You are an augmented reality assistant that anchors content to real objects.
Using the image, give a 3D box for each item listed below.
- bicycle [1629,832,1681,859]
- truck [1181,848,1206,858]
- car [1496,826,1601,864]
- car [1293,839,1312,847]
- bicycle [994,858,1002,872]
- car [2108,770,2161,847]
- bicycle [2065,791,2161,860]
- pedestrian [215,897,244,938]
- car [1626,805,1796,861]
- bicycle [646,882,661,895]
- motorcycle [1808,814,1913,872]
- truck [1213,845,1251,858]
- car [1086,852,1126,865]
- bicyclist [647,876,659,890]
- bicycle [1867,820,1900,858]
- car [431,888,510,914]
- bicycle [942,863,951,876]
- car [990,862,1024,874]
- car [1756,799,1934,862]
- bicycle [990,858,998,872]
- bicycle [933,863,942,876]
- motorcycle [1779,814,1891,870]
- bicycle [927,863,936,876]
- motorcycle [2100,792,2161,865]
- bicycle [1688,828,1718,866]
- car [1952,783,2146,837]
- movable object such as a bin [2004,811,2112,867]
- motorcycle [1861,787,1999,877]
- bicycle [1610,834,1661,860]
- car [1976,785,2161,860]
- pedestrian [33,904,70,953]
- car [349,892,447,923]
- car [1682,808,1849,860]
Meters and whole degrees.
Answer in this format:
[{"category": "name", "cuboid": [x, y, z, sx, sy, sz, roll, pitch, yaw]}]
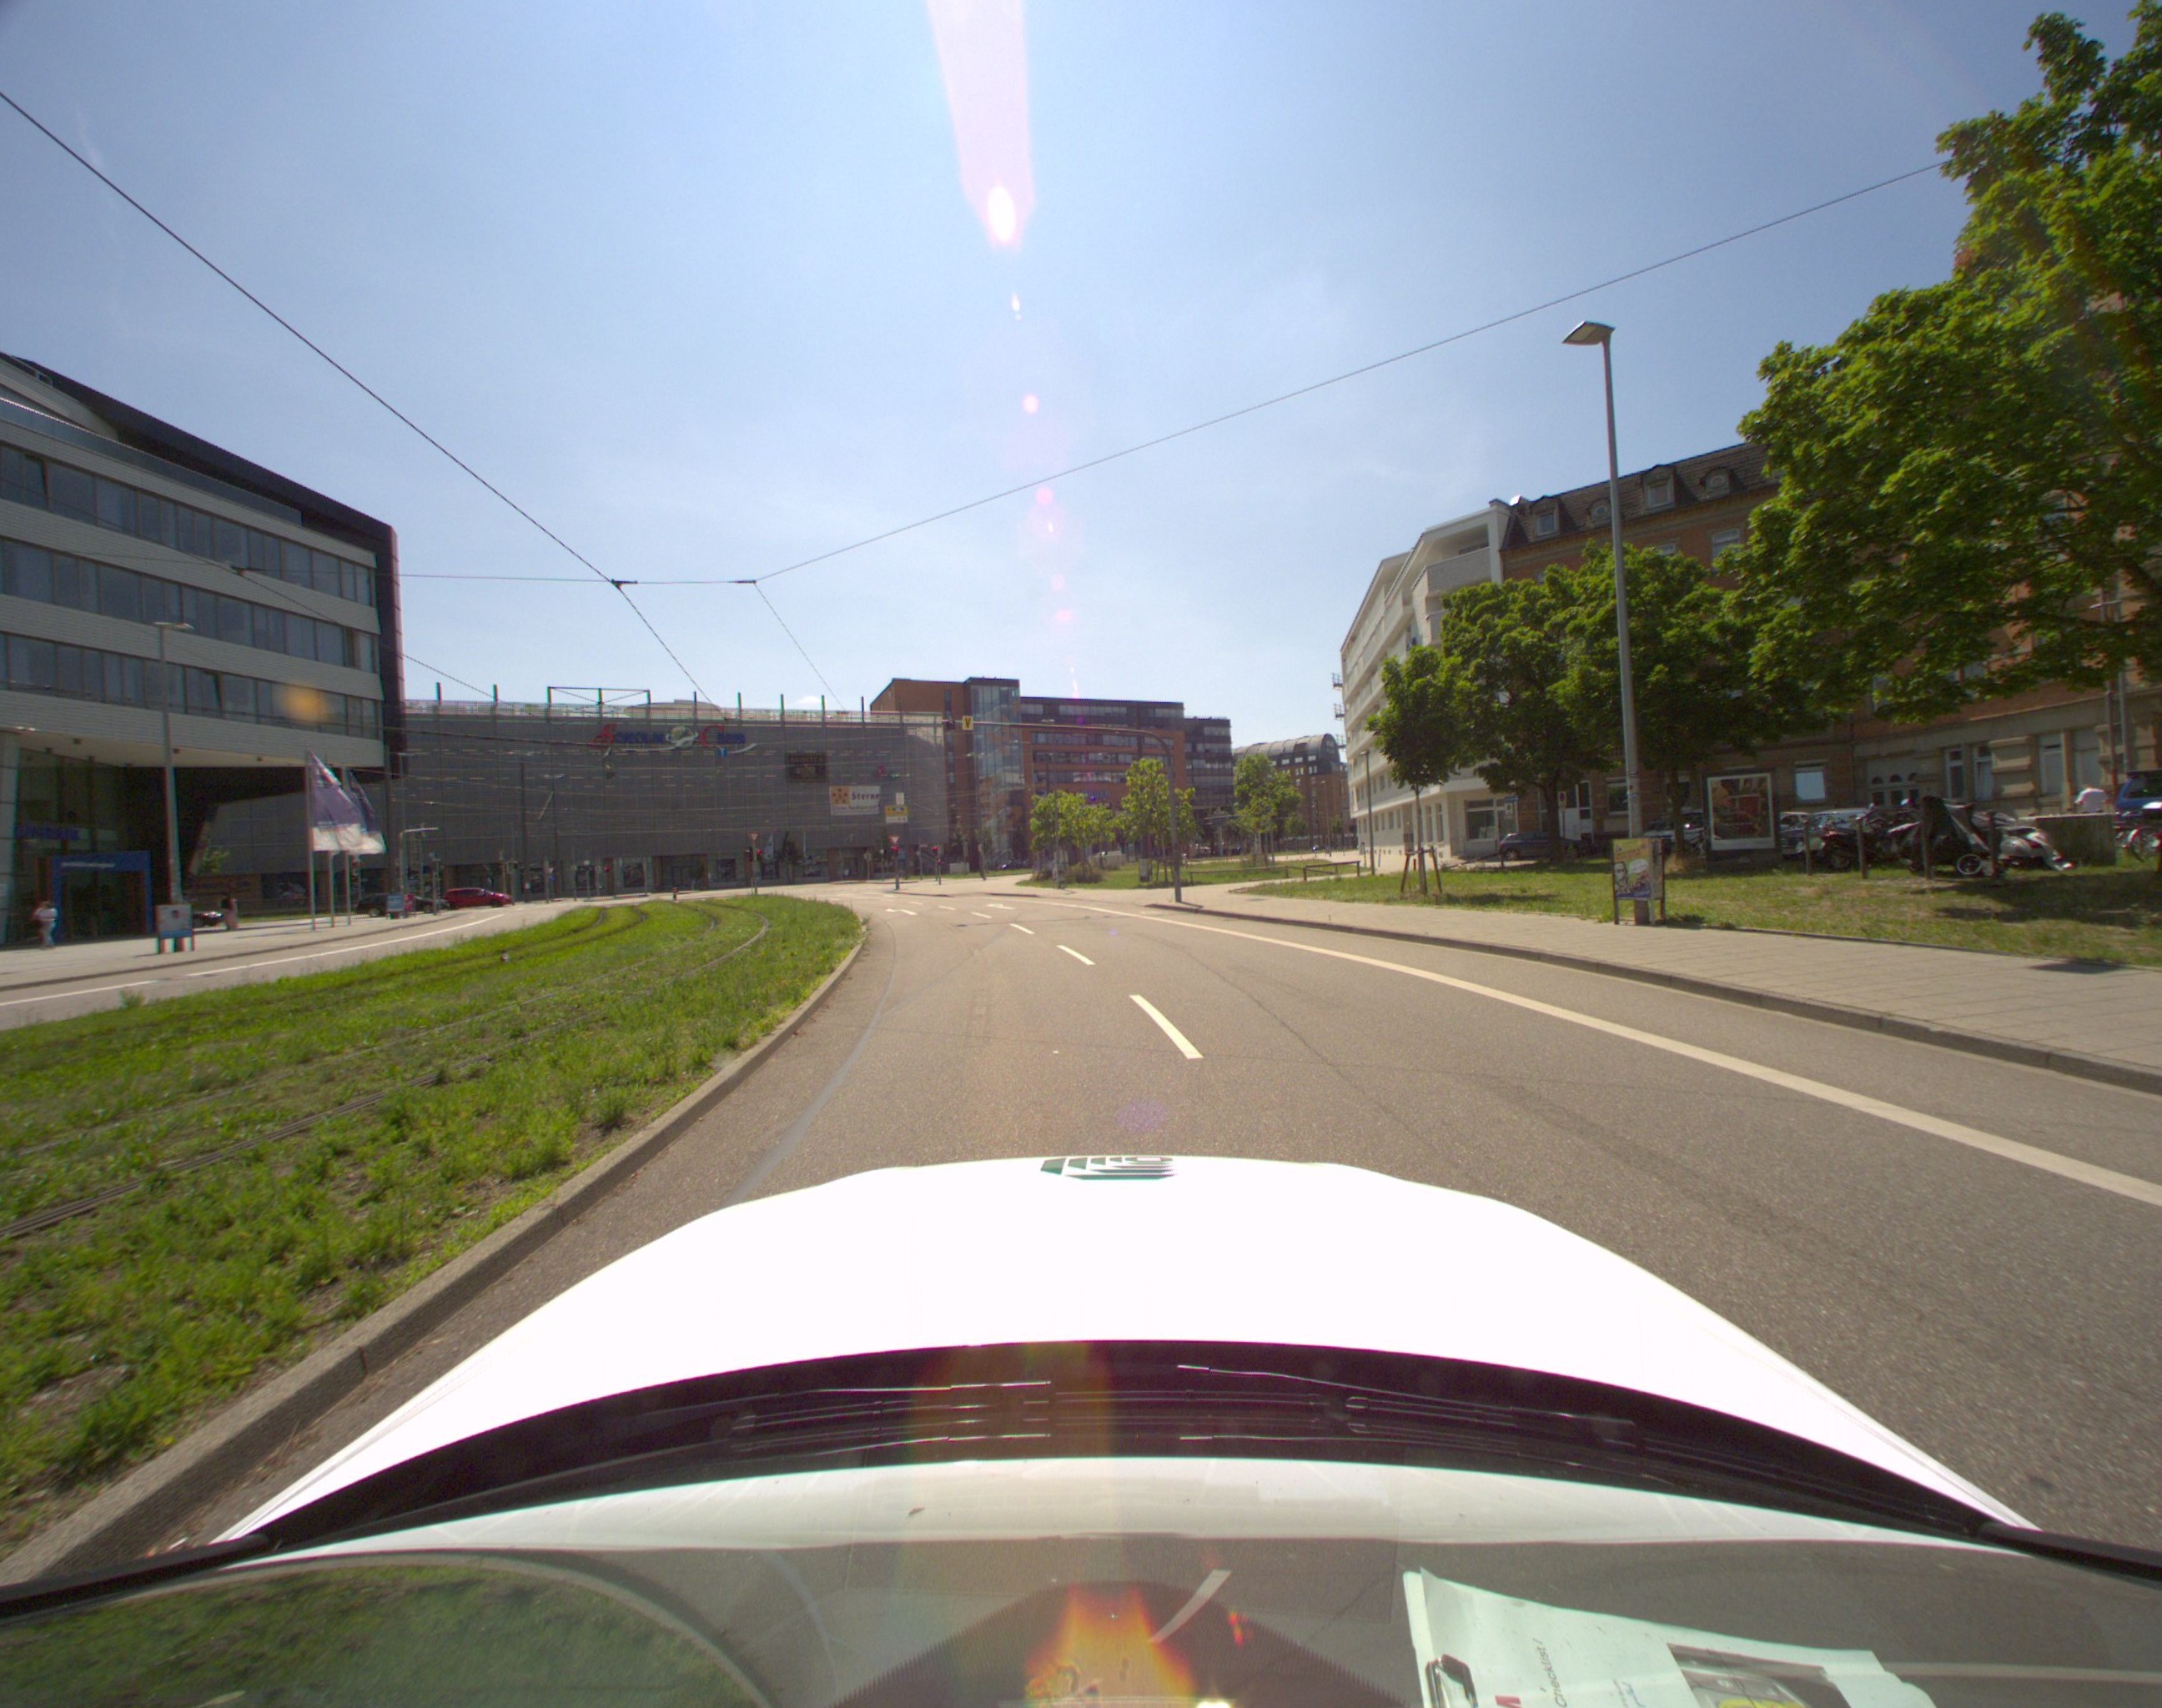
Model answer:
[{"category": "bicycle", "cuboid": [21.501, -0.323, 30.503, 2.051, 0.935, 0.505, -2, 0, -20]}, {"category": "truck", "cuboid": [25.841, -0.215, 186.885, 5.311, 2.013, 1.894, -2, 0, 39]}, {"category": "car", "cuboid": [22.411, -0.417, 39.150, 4.077, 1.624, 1.706, -2, 0, 41]}, {"category": "car", "cuboid": [53.510, -2.630, 196.996, 3.949, 1.728, 1.878, -2, 0, 42]}, {"category": "bicycle", "cuboid": [-12.334, 1.637, 121.361, 0.487, 2.013, 2.328, -2, 0, -24]}, {"category": "car", "cuboid": [27.706, -1.167, 19.109, 1.907, 1.904, 4.669, -2, 0, 12]}, {"category": "bicycle", "cuboid": [20.054, -0.548, 15.205, 2.060, 1.236, 0.635, -2, -1, 21]}, {"category": "pedestrian", "cuboid": [-35.833, 2.645, 34.257, 0.903, 1.630, 0.754, -2, -1, 39]}, {"category": "car", "cuboid": [20.363, -0.665, 26.355, 4.869, 1.601, 1.826, -2, 0, -16]}, {"category": "bicycle", "cuboid": [-49.349, 3.943, 94.090, 1.065, 1.390, 3.004, -2, 0, -19]}, {"category": "motorcycle", "cuboid": [15.946, -0.217, 16.693, 1.510, 1.120, 0.479, -2, -1, 10]}, {"category": "truck", "cuboid": [35.334, -0.553, 190.548, 9.123, 2.809, 2.012, -2, -1, 43]}, {"category": "car", "cuboid": [3.545, 0.611, 115.368, 5.500, 1.668, 1.980, -2, 0, -32]}, {"category": "bicyclist", "cuboid": [-49.254, 3.352, 93.761, 1.043, 1.571, 0.772, -2, -1, -20]}, {"category": "bicycle", "cuboid": [18.210, -0.346, 18.476, 1.465, 0.805, 0.493, -2, -1, -45]}, {"category": "car", "cuboid": [-42.498, 3.246, 56.819, 4.152, 1.508, 1.824, -2, 0, -30]}, {"category": "bicycle", "cuboid": [-19.273, 2.213, 116.636, 0.601, 1.731, 2.241, -2, 0, -25]}, {"category": "car", "cuboid": [-9.648, 1.790, 105.859, 4.009, 1.442, 1.728, -2, 0, -28]}, {"category": "car", "cuboid": [19.248, -0.590, 20.539, 3.867, 1.432, 1.597, -2, 0, -18]}, {"category": "bicycle", "cuboid": [-12.936, 1.680, 121.071, 0.487, 2.013, 2.328, -2, 0, -24]}, {"category": "bicycle", "cuboid": [-20.448, 2.205, 116.099, 0.601, 1.731, 2.241, -2, 0, -25]}, {"category": "motorcycle", "cuboid": [16.260, -0.248, 17.585, 1.813, 1.120, 0.529, -2, 0, 4]}, {"category": "bicycle", "cuboid": [-21.254, 2.186, 115.702, 0.601, 1.731, 2.241, -2, 0, -25]}, {"category": "motorcycle", "cuboid": [19.421, -0.480, 14.078, 2.059, 1.236, 0.817, -3, -1, 26]}, {"category": "bicycle", "cuboid": [16.531, -0.189, 21.645, 0.470, 0.947, 1.380, -2, 0, 32]}, {"category": "car", "cuboid": [30.323, -1.316, 25.726, 1.760, 1.420, 4.011, -2, 0, 10]}, {"category": "movable object such as a bin", "cuboid": [17.186, -0.256, 14.349, 0.977, 0.937, 0.705, -2, 0, 22]}, {"category": "motorcycle", "cuboid": [14.681, -0.369, 14.163, 0.670, 1.413, 1.863, -4, -1, 13]}, {"category": "bicycle", "cuboid": [21.129, -0.260, 31.025, 2.051, 0.935, 0.505, -2, 0, -20]}, {"category": "car", "cuboid": [21.295, -0.652, 16.387, 3.954, 1.376, 1.966, -2, 0, 19]}, {"category": "pedestrian", "cuboid": [-33.232, 2.403, 26.297, 0.574, 1.518, 0.593, -2, -1, 25]}, {"category": "car", "cuboid": [-43.978, 3.425, 52.580, 4.559, 1.508, 1.823, -3, 0, -33]}, {"category": "car", "cuboid": [19.839, -0.579, 23.637, 3.995, 1.332, 1.749, -2, 0, -16]}]
